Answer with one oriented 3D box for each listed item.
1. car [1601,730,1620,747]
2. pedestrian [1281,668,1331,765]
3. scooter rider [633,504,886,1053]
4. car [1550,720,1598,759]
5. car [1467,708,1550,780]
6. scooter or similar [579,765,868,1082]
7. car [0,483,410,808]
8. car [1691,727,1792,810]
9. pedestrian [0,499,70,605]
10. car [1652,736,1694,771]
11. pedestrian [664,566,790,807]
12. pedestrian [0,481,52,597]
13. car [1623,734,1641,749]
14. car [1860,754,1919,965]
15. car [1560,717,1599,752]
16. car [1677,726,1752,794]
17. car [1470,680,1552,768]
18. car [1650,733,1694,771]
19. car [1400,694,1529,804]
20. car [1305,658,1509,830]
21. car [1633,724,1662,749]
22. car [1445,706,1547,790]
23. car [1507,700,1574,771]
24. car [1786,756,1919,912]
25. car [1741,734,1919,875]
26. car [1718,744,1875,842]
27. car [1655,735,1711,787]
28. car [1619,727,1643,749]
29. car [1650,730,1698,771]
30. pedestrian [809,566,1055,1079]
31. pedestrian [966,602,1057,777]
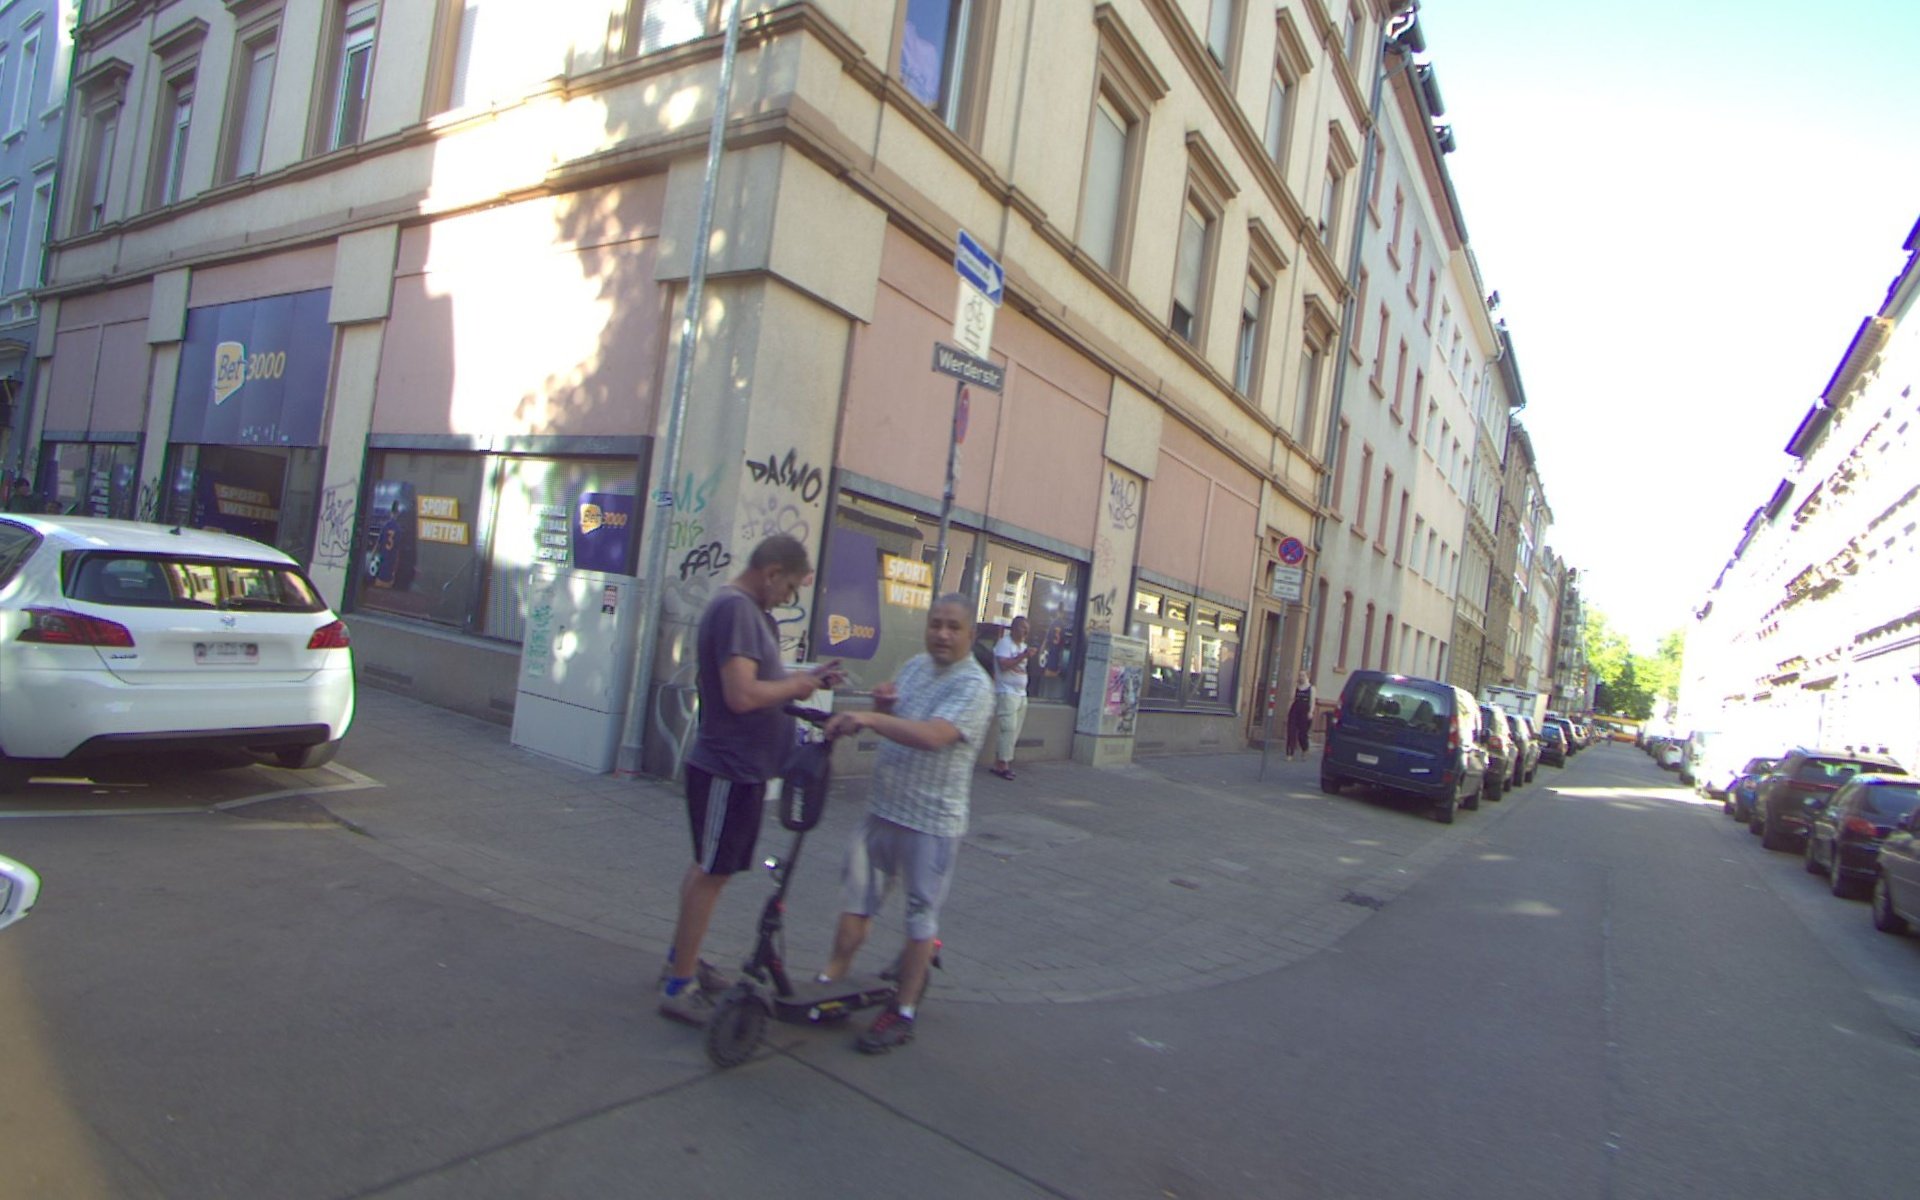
[{"bbox_3d":[88.212,18.739,136.345,1.968,1.935,3.996,6,-4,34],"label":"car"},{"bbox_3d":[6.344,2.136,18.428,0.457,1.675,0.843,7,-1,35],"label":"pedestrian"},{"bbox_3d":[-0.745,0.624,3.663,0.603,1.798,0.563,8,-2,-18],"label":"scooter rider"},{"bbox_3d":[29.234,6.605,47.853,1.707,1.521,3.269,7,-2,34],"label":"car"},{"bbox_3d":[15.064,3.914,27.562,1.561,1.624,3.579,6,-3,34],"label":"car"},{"bbox_3d":[-0.856,1.086,3.592,0.911,0.837,0.394,6,-3,35],"label":"scooter or similar"},{"bbox_3d":[-5.723,0.157,6.610,4.068,1.532,1.792,6,-4,32],"label":"car"},{"bbox_3d":[21.704,4.659,28.086,1.704,1.892,3.941,6,-4,33],"label":"car"},{"bbox_3d":[-14.713,-0.755,15.914,0.647,1.546,0.589,6,-3,29],"label":"pedestrian"},{"bbox_3d":[49.156,10.566,69.418,1.968,2.035,3.996,6,-4,33],"label":"car"},{"bbox_3d":[-1.726,0.629,7.426,0.593,1.670,0.462,9,1,-25],"label":"pedestrian"},{"bbox_3d":[-15.350,-0.993,16.220,0.647,1.759,0.631,7,-2,21],"label":"pedestrian"},{"bbox_3d":[98.267,20.709,147.139,1.968,1.935,3.996,6,-4,34],"label":"car"},{"bbox_3d":[8.639,2.203,7.948,1.604,1.648,3.741,7,-3,34],"label":"car"},{"bbox_3d":[37.044,8.043,60.144,1.707,1.773,3.269,7,-2,34],"label":"car"},{"bbox_3d":[27.209,5.777,36.385,1.704,2.054,4.195,6,-4,33],"label":"car"},{"bbox_3d":[17.689,3.968,32.215,1.807,2.407,3.420,6,-3,34],"label":"car"},{"bbox_3d":[45.984,9.821,65.003,1.968,2.035,3.996,6,-4,33],"label":"car"},{"bbox_3d":[9.551,2.759,18.897,1.561,1.629,3.935,6,-3,34],"label":"car"},{"bbox_3d":[6.619,2.041,14.648,1.838,1.862,3.931,10,-1,34],"label":"car"},{"bbox_3d":[65.588,13.010,95.977,1.968,2.035,3.997,6,-4,33],"label":"car"},{"bbox_3d":[12.389,3.364,23.139,1.561,1.540,4.046,6,-3,34],"label":"car"},{"bbox_3d":[20.855,4.844,36.087,1.707,2.166,3.269,6,-3,34],"label":"car"},{"bbox_3d":[11.370,2.794,12.219,1.535,1.471,3.984,6,-3,34],"label":"car"},{"bbox_3d":[13.780,3.136,16.141,1.535,1.737,3.983,6,-3,34],"label":"car"},{"bbox_3d":[17.442,3.980,21.173,1.968,1.542,3.636,6,-4,33],"label":"car"},{"bbox_3d":[33.670,7.485,46.912,1.704,2.054,4.195,6,-4,33],"label":"car"},{"bbox_3d":[74.431,15.300,111.596,1.968,2.035,3.997,6,-4,33],"label":"car"},{"bbox_3d":[42.144,8.908,59.477,1.968,2.035,3.996,6,-4,33],"label":"car"},{"bbox_3d":[-0.119,0.755,3.598,0.521,1.656,0.563,8,-2,-19],"label":"pedestrian"},{"bbox_3d":[0.554,0.952,10.622,0.467,1.745,0.692,6,-3,33],"label":"pedestrian"}]
